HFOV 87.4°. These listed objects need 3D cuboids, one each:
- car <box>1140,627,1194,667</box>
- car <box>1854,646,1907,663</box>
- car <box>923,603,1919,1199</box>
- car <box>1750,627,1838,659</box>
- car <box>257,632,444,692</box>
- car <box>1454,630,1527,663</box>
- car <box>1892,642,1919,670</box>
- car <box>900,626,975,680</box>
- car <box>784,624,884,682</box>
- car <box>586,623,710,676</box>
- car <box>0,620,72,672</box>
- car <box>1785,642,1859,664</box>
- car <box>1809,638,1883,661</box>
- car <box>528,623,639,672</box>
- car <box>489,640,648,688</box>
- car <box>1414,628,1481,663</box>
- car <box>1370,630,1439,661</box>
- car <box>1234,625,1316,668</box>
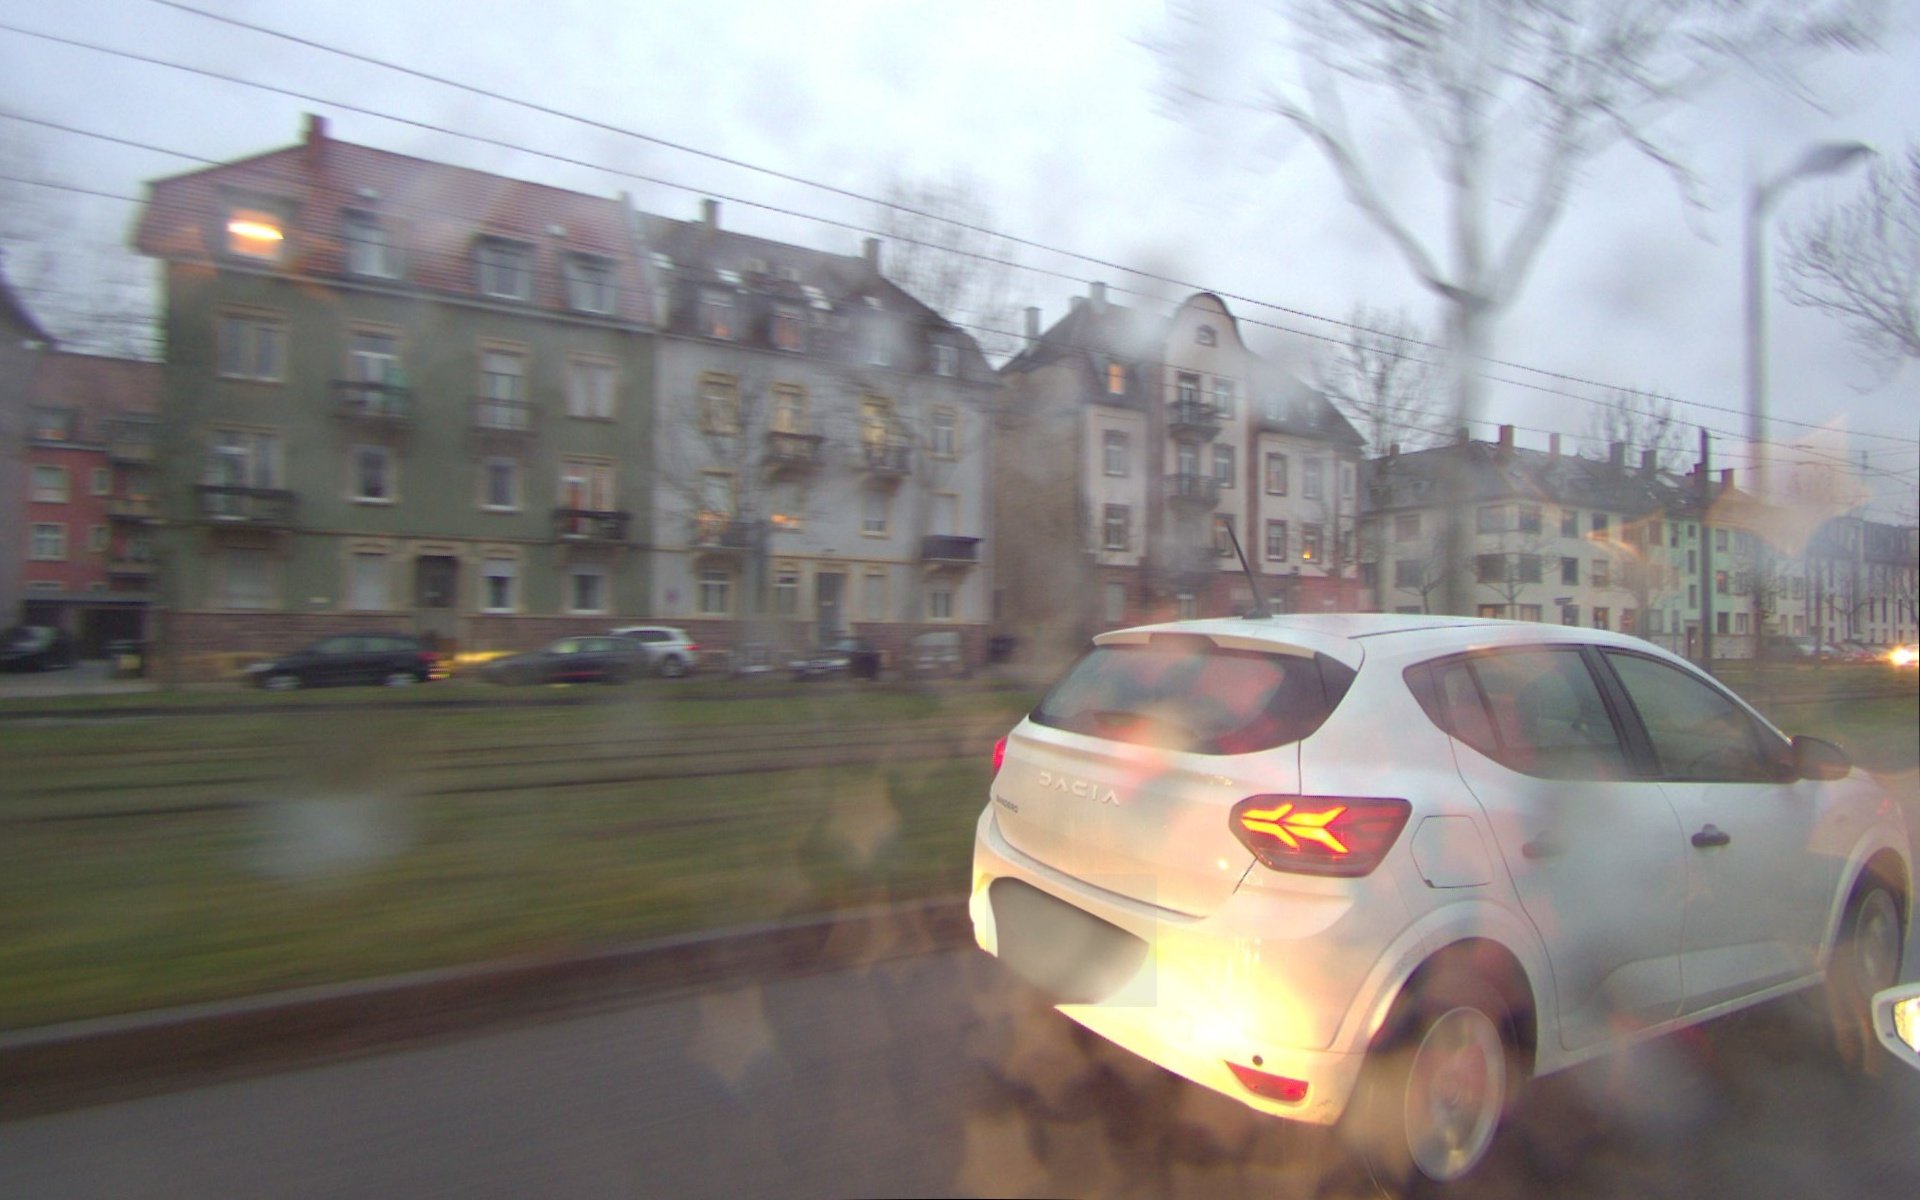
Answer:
[{"bbox_3d":[7.599,1.691,37.023,1.796,1.274,4.269,1,0,11],"label":"car"},{"bbox_3d":[62.067,3.666,67.771,1.408,1.062,2.393,1,0,3],"label":"car"},{"bbox_3d":[2.005,0.816,3.764,3.954,1.494,1.680,2,0,-30],"label":"car"},{"bbox_3d":[51.450,2.605,62.073,1.796,1.746,4.661,1,0,4],"label":"car"},{"bbox_3d":[-15.086,1.523,25.087,3.861,1.357,1.459,2,0,-28],"label":"car"},{"bbox_3d":[24.279,2.095,46.143,1.677,1.176,4.107,3,1,9],"label":"car"},{"bbox_3d":[55.170,3.185,57.529,3.738,1.524,1.539,2,0,-29],"label":"car"},{"bbox_3d":[-0.627,1.582,31.207,1.660,1.451,4.667,1,0,7],"label":"car"},{"bbox_3d":[-3.656,1.518,29.822,1.783,1.467,3.954,1,0,10],"label":"car"},{"bbox_3d":[-9.935,1.560,32.049,3.497,1.572,1.672,2,0,-30],"label":"car"},{"bbox_3d":[-30.990,1.495,33.261,1.591,1.564,3.340,2,0,-28],"label":"car"},{"bbox_3d":[54.637,3.365,63.723,1.702,1.156,3.573,1,0,3],"label":"car"},{"bbox_3d":[57.158,3.172,64.867,1.653,1.326,3.582,1,0,3],"label":"car"},{"bbox_3d":[-12.564,1.575,33.534,3.230,1.550,1.603,2,0,-30],"label":"car"},{"bbox_3d":[-10.628,1.716,27.370,3.860,1.184,1.222,2,0,-34],"label":"car"},{"bbox_3d":[21.465,1.975,44.395,1.321,1.247,4.046,3,1,7],"label":"car"},{"bbox_3d":[18.512,1.892,41.960,1.759,1.003,2.920,3,1,5],"label":"car"},{"bbox_3d":[12.119,1.779,38.861,1.842,1.437,3.361,3,-1,-4],"label":"car"}]
